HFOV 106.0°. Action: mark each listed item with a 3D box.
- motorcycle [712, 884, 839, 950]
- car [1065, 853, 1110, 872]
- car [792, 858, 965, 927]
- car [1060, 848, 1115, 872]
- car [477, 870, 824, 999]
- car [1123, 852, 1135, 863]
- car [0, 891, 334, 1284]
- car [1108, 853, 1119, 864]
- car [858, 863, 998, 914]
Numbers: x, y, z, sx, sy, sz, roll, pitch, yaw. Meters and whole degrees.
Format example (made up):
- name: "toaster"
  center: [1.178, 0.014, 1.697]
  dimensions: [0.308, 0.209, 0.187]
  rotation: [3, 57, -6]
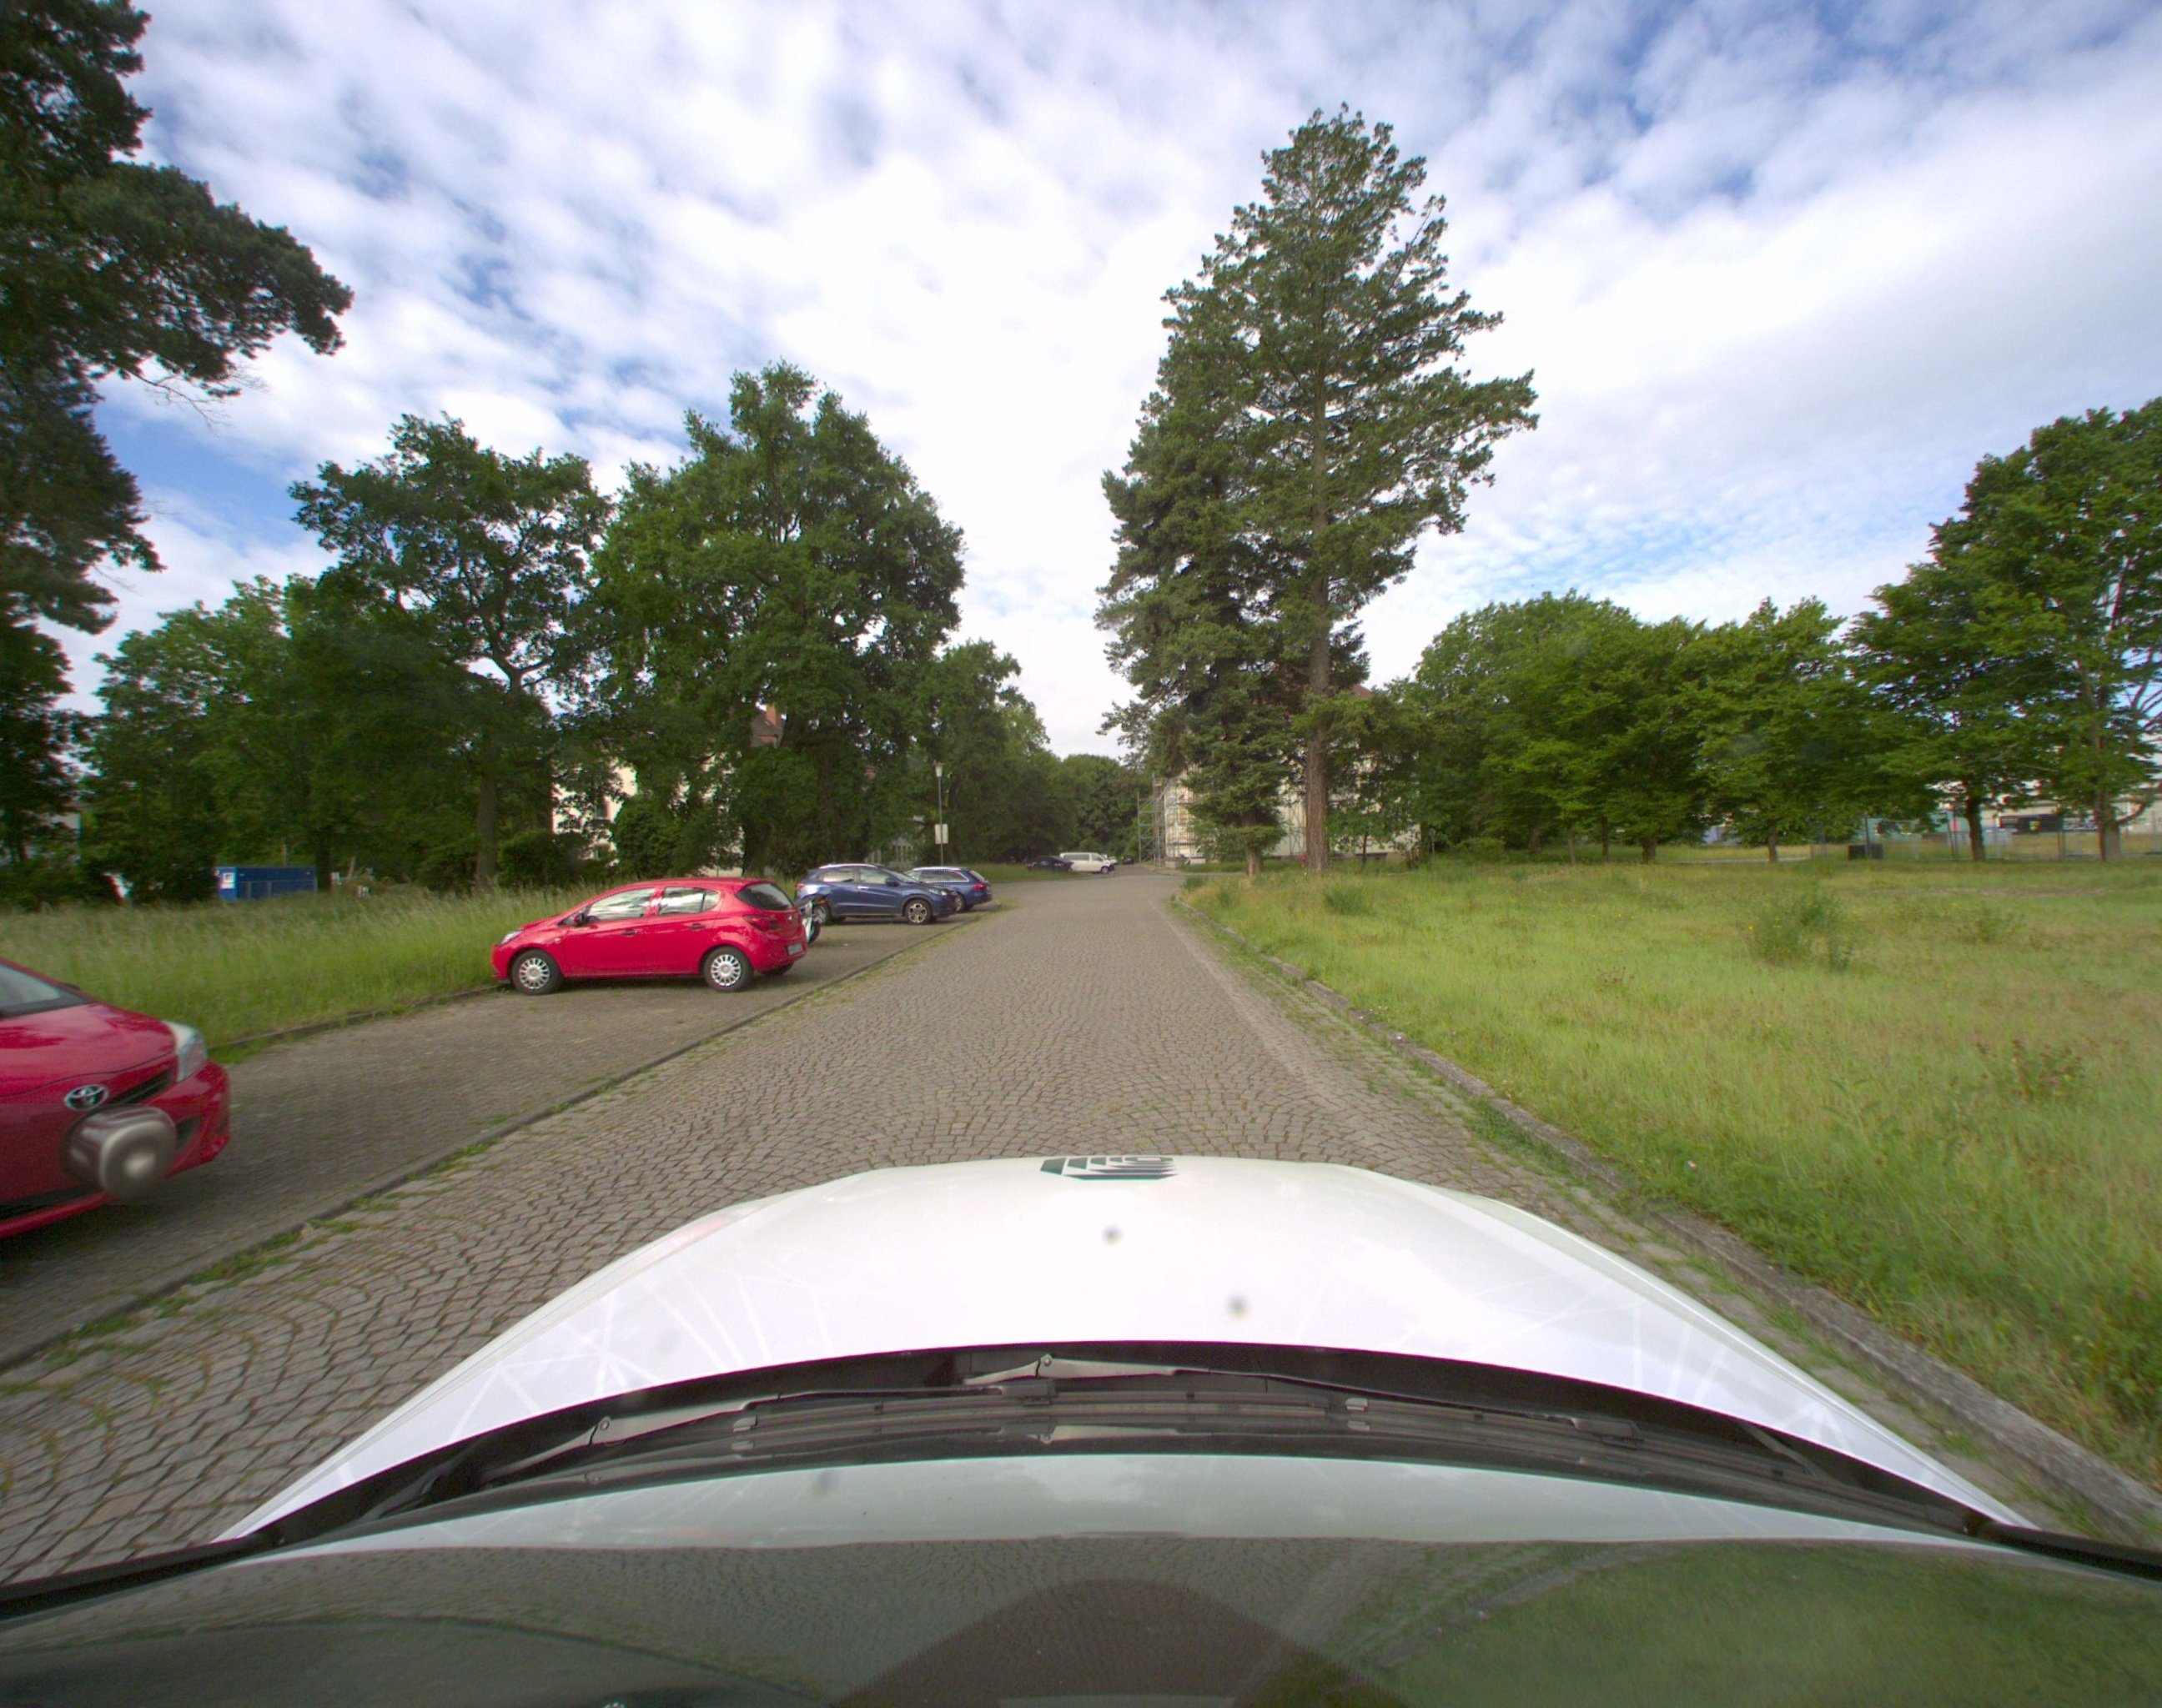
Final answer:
- name: "motorcycle"
  center: [-5.931, 1.218, 15.870]
  dimensions: [2.216, 1.159, 0.647]
  rotation: [-2, 0, 4]
- name: "car"
  center: [0.750, 0.946, 92.535]
  dimensions: [4.961, 1.968, 2.052]
  rotation: [-1, -2, 0]
- name: "car"
  center: [-5.250, 0.980, 21.545]
  dimensions: [4.058, 1.604, 1.787]
  rotation: [-2, 0, 0]
- name: "car"
  center: [0.580, 0.551, 75.115]
  dimensions: [4.961, 2.073, 2.052]
  rotation: [-1, -2, 0]
- name: "car"
  center: [-5.786, 1.053, 11.299]
  dimensions: [3.802, 1.489, 1.788]
  rotation: [-2, 0, 1]
- name: "car"
  center: [8.265, 0.667, 141.340]
  dimensions: [1.784, 1.720, 4.061]
  rotation: [-2, -2, 1]
- name: "car"
  center: [-6.190, 1.016, 3.776]
  dimensions: [3.801, 1.486, 1.762]
  rotation: [-2, 0, 1]
- name: "car"
  center: [5.643, 0.811, 141.081]
  dimensions: [1.784, 1.636, 4.061]
  rotation: [-2, -2, 1]
- name: "car"
  center: [-4.874, 1.082, 26.235]
  dimensions: [4.051, 1.467, 1.628]
  rotation: [-2, 0, 5]
